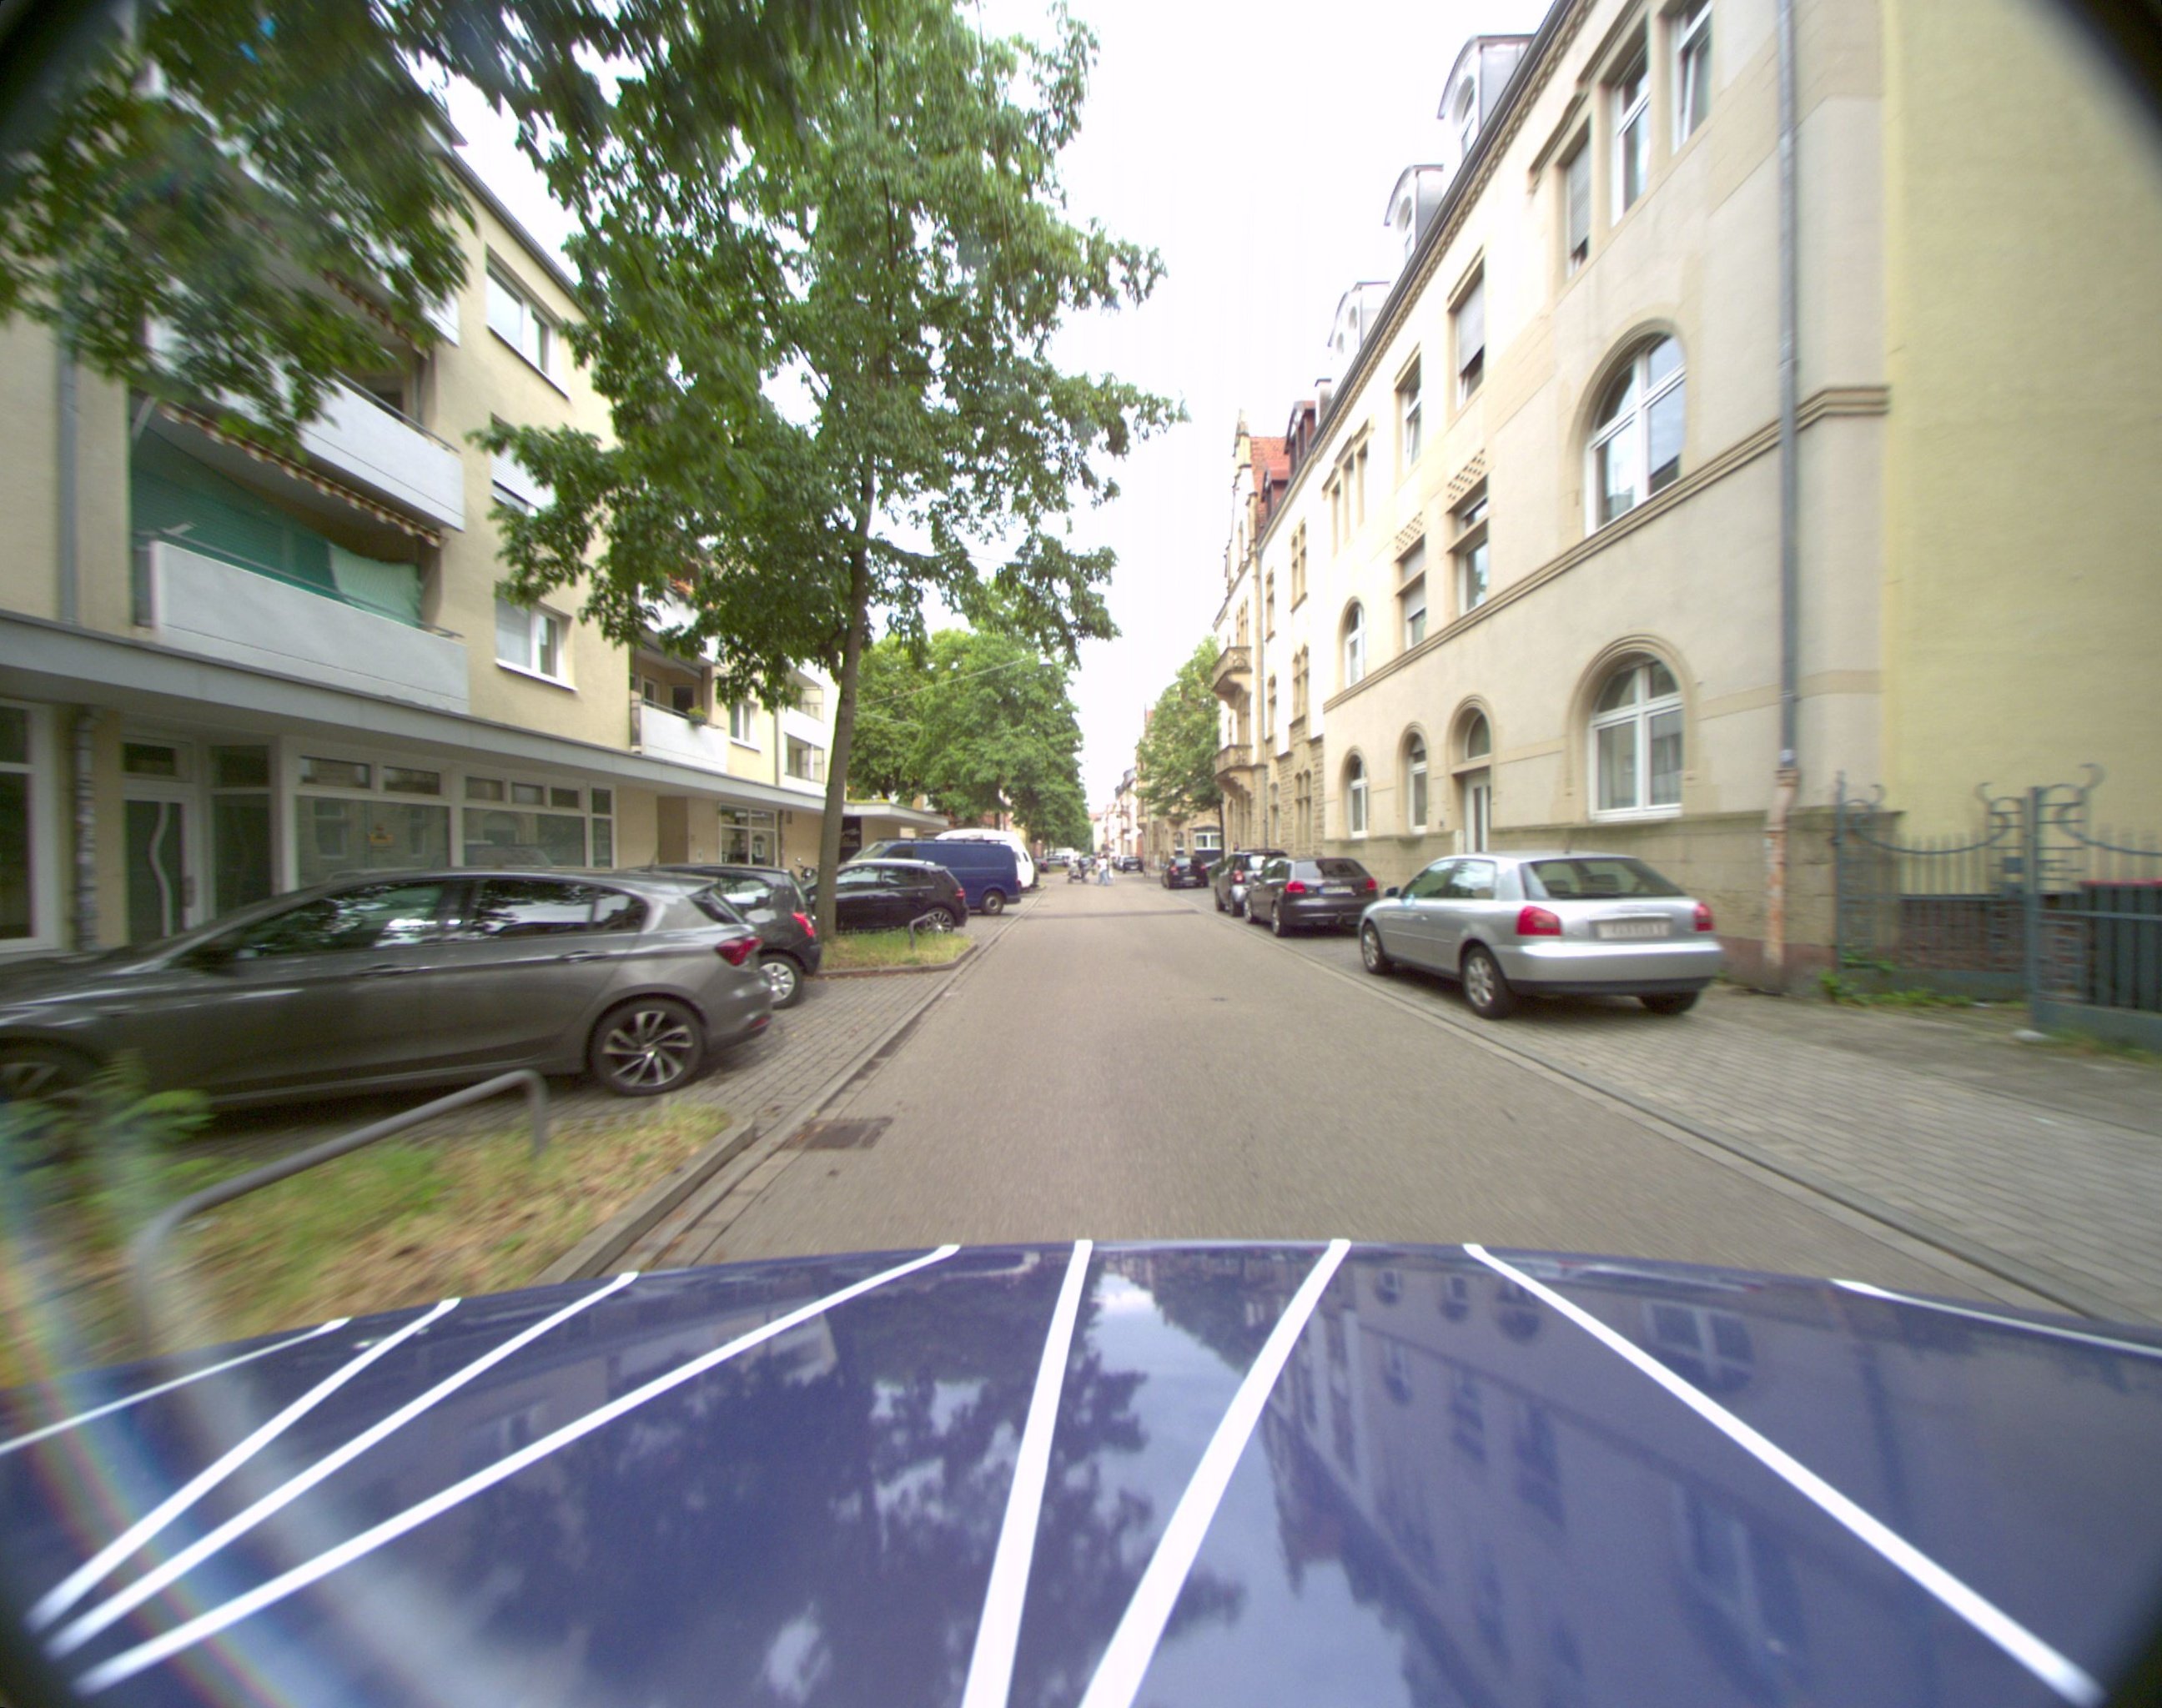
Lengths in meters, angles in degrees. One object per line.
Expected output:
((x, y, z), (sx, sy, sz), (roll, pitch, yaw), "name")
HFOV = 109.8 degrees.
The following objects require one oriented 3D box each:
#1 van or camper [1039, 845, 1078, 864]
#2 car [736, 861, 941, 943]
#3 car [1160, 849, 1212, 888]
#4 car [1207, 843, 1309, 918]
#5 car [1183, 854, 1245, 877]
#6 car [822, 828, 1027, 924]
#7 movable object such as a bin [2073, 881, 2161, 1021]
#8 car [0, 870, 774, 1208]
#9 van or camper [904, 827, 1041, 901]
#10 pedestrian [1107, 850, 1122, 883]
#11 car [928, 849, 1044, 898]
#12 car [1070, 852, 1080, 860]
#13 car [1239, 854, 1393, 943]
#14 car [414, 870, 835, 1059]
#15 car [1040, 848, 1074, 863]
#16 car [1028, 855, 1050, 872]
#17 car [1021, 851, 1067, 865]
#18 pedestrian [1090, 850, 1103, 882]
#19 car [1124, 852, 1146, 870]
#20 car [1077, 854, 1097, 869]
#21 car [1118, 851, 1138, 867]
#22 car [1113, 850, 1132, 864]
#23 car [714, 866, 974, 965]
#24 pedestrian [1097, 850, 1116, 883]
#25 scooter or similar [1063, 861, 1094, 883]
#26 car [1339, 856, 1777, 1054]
((-3.180, 0.048, 107.109), (5.077, 2.576, 2.069), (-1, 1, -30), "van or camper")
((-5.115, 0.932, 16.044), (3.919, 1.457, 1.821), (-1, 1, -24), "car")
((4.505, 0.575, 33.030), (1.713, 1.486, 4.000), (-4, 0, 2), "car")
((4.219, 0.617, 18.531), (1.651, 1.561, 2.957), (-4, 0, 0), "car")
((9.382, 0.820, 53.895), (4.280, 1.459, 1.662), (-1, 4, 7), "car")
((-3.940, 0.548, 19.557), (4.716, 2.183, 2.061), (1, 0, -37), "car")
((8.660, 0.761, 6.028), (0.615, 1.049, 0.730), (-2, 1, 0), "movable object such as a bin")
((-4.427, 0.899, 5.015), (4.234, 1.492, 1.971), (0, 1, -29), "car")
((-3.995, 0.315, 28.200), (4.604, 2.581, 1.906), (-1, 1, -32), "van or camper")
((1.689, 0.607, 38.363), (0.617, 1.634, 0.604), (-2, 1, 12), "pedestrian")
((-3.905, 0.747, 31.293), (4.351, 1.843, 1.907), (-1, 1, -24), "car")
((-1.463, 0.445, 178.649), (1.998, 1.739, 4.000), (-2, 0, 3), "car")
((4.219, 0.728, 14.296), (1.730, 1.378, 3.929), (-2, 0, 2), "car")
((-4.434, 0.969, 7.949), (3.374, 1.488, 1.848), (-1, 1, -23), "car")
((-3.005, 0.193, 96.097), (3.993, 1.801, 1.722), (-1, 1, 12), "car")
((-3.884, 0.837, 70.817), (1.768, 1.477, 4.479), (1, 0, 0), "car")
((-3.745, 0.405, 77.900), (4.453, 1.419, 1.754), (1, 1, -33), "car")
((0.799, 0.629, 39.363), (0.528, 1.634, 0.529), (-3, 1, 11), "pedestrian")
((4.535, 0.576, 64.044), (1.731, 1.425, 3.882), (-3, 0, 2), "car")
((0.633, 0.740, 76.939), (1.712, 1.404, 3.855), (-1, -2, 3), "car")
((4.607, 0.506, 74.322), (1.593, 1.425, 3.809), (-3, 0, -1), "car")
((4.606, 0.278, 84.142), (1.671, 1.502, 3.552), (-1, 0, -4), "car")
((-4.215, 0.987, 13.670), (4.120, 1.434, 1.848), (-1, 1, -31), "car")
((1.248, 0.613, 37.403), (0.630, 1.584, 0.671), (-1, 1, 42), "pedestrian")
((-0.119, 0.913, 39.484), (1.471, 1.098, 0.676), (0, 1, 12), "scooter or similar")
((4.207, 0.744, 7.637), (1.730, 1.378, 4.136), (-2, 0, -1), "car")
